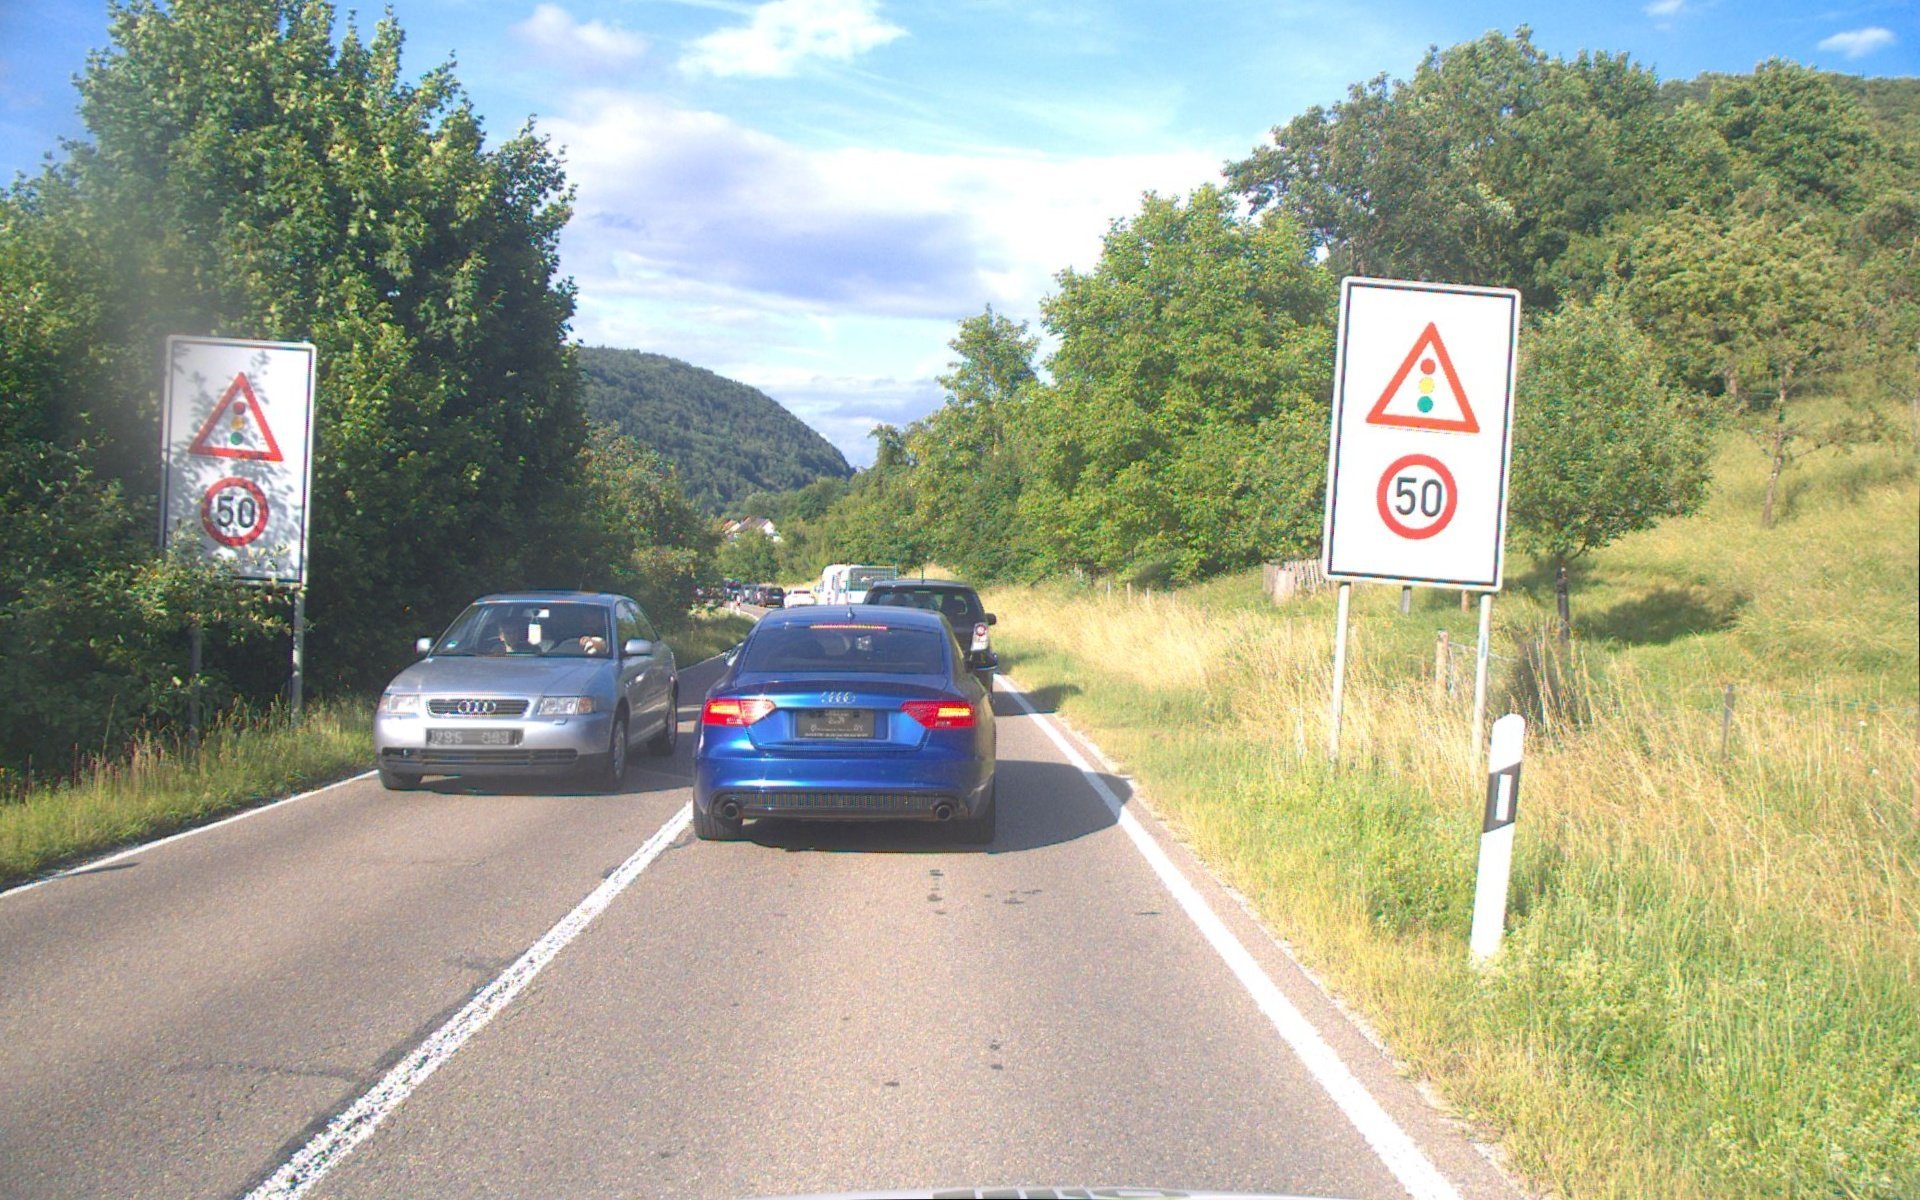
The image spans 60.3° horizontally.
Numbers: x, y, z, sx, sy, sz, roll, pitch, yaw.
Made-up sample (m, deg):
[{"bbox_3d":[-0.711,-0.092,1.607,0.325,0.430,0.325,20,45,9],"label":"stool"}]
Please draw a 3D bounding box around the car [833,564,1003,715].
[{"bbox_3d":[-0.541,0.466,21.286,1.953,1.732,3.998,1,0,-2],"label":"car"}]

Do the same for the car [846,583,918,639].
[{"bbox_3d":[-2.200,0.313,47.282,1.953,1.508,3.998,1,0,-2],"label":"car"}]

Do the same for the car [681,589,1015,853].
[{"bbox_3d":[-0.620,0.654,10.840,1.757,1.383,3.999,1,0,-1],"label":"car"}]

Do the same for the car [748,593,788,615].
[{"bbox_3d":[-14.018,0.269,120.572,1.966,1.508,3.974,1,0,-22],"label":"car"}]

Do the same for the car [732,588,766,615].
[{"bbox_3d":[-16.590,0.147,130.091,1.962,2.049,3.981,1,0,-17],"label":"car"}]

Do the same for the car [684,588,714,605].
[{"bbox_3d":[-25.099,-0.332,158.980,1.967,1.508,3.970,1,0,-24],"label":"car"}]

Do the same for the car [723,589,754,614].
[{"bbox_3d":[-18.792,0.094,140.182,1.961,2.049,3.982,1,0,-16],"label":"car"}]

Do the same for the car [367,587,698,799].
[{"bbox_3d":[-3.180,0.626,13.021,1.657,1.434,3.663,0,0,0],"label":"car"}]

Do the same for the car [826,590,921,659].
[{"bbox_3d":[-1.873,0.527,36.636,1.953,1.411,3.998,1,0,-2],"label":"car"}]

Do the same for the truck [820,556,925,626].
[{"bbox_3d":[-3.877,-0.387,70.224,2.814,2.712,10.361,1,0,-12],"label":"truck"}]

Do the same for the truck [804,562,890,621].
[{"bbox_3d":[-5.827,-0.431,83.327,2.814,2.712,10.612,1,0,-12],"label":"truck"}]

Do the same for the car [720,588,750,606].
[{"bbox_3d":[-19.916,-0.277,146.183,1.962,1.508,3.980,1,0,-18],"label":"car"}]

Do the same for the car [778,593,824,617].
[{"bbox_3d":[-10.474,0.341,108.808,1.966,1.508,3.974,1,0,-22],"label":"car"}]
